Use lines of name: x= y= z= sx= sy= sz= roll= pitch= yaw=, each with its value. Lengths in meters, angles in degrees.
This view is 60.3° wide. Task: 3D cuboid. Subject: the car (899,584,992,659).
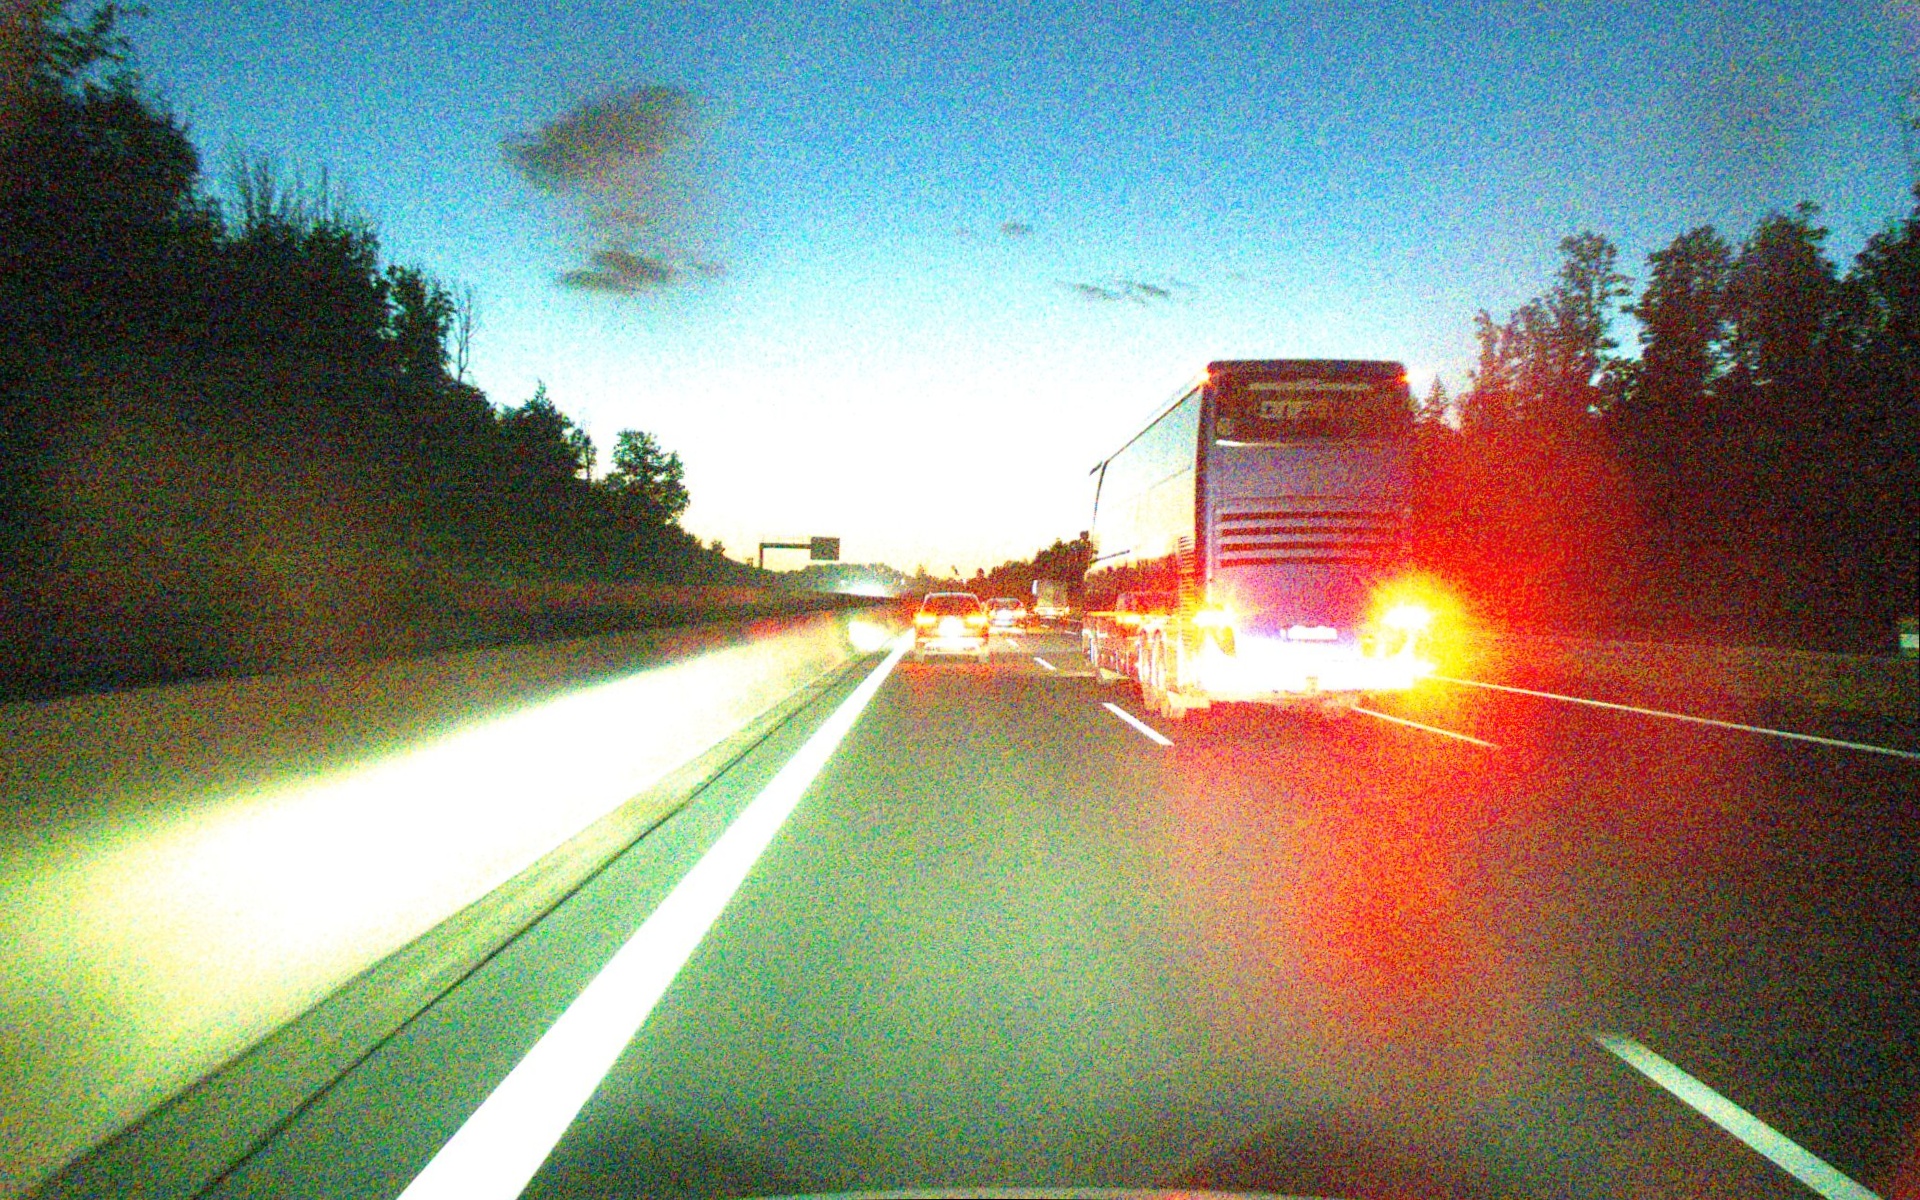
car: x=-0.396 y=0.497 z=39.309 sx=2.063 sy=1.646 sz=4.202 roll=1 pitch=-1 yaw=-2

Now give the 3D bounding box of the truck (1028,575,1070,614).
truck: x=6.854 y=-0.412 z=128.153 sx=2.550 sy=2.925 sz=7.483 roll=1 pitch=0 yaw=-1

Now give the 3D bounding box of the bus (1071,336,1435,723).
bus: x=3.602 y=-0.698 z=24.893 sx=2.598 sy=4.064 sz=14.698 roll=1 pitch=0 yaw=-1

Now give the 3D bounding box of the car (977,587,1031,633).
car: x=1.713 y=0.413 z=65.705 sx=1.873 sy=1.760 sz=3.998 roll=0 pitch=-1 yaw=-2
